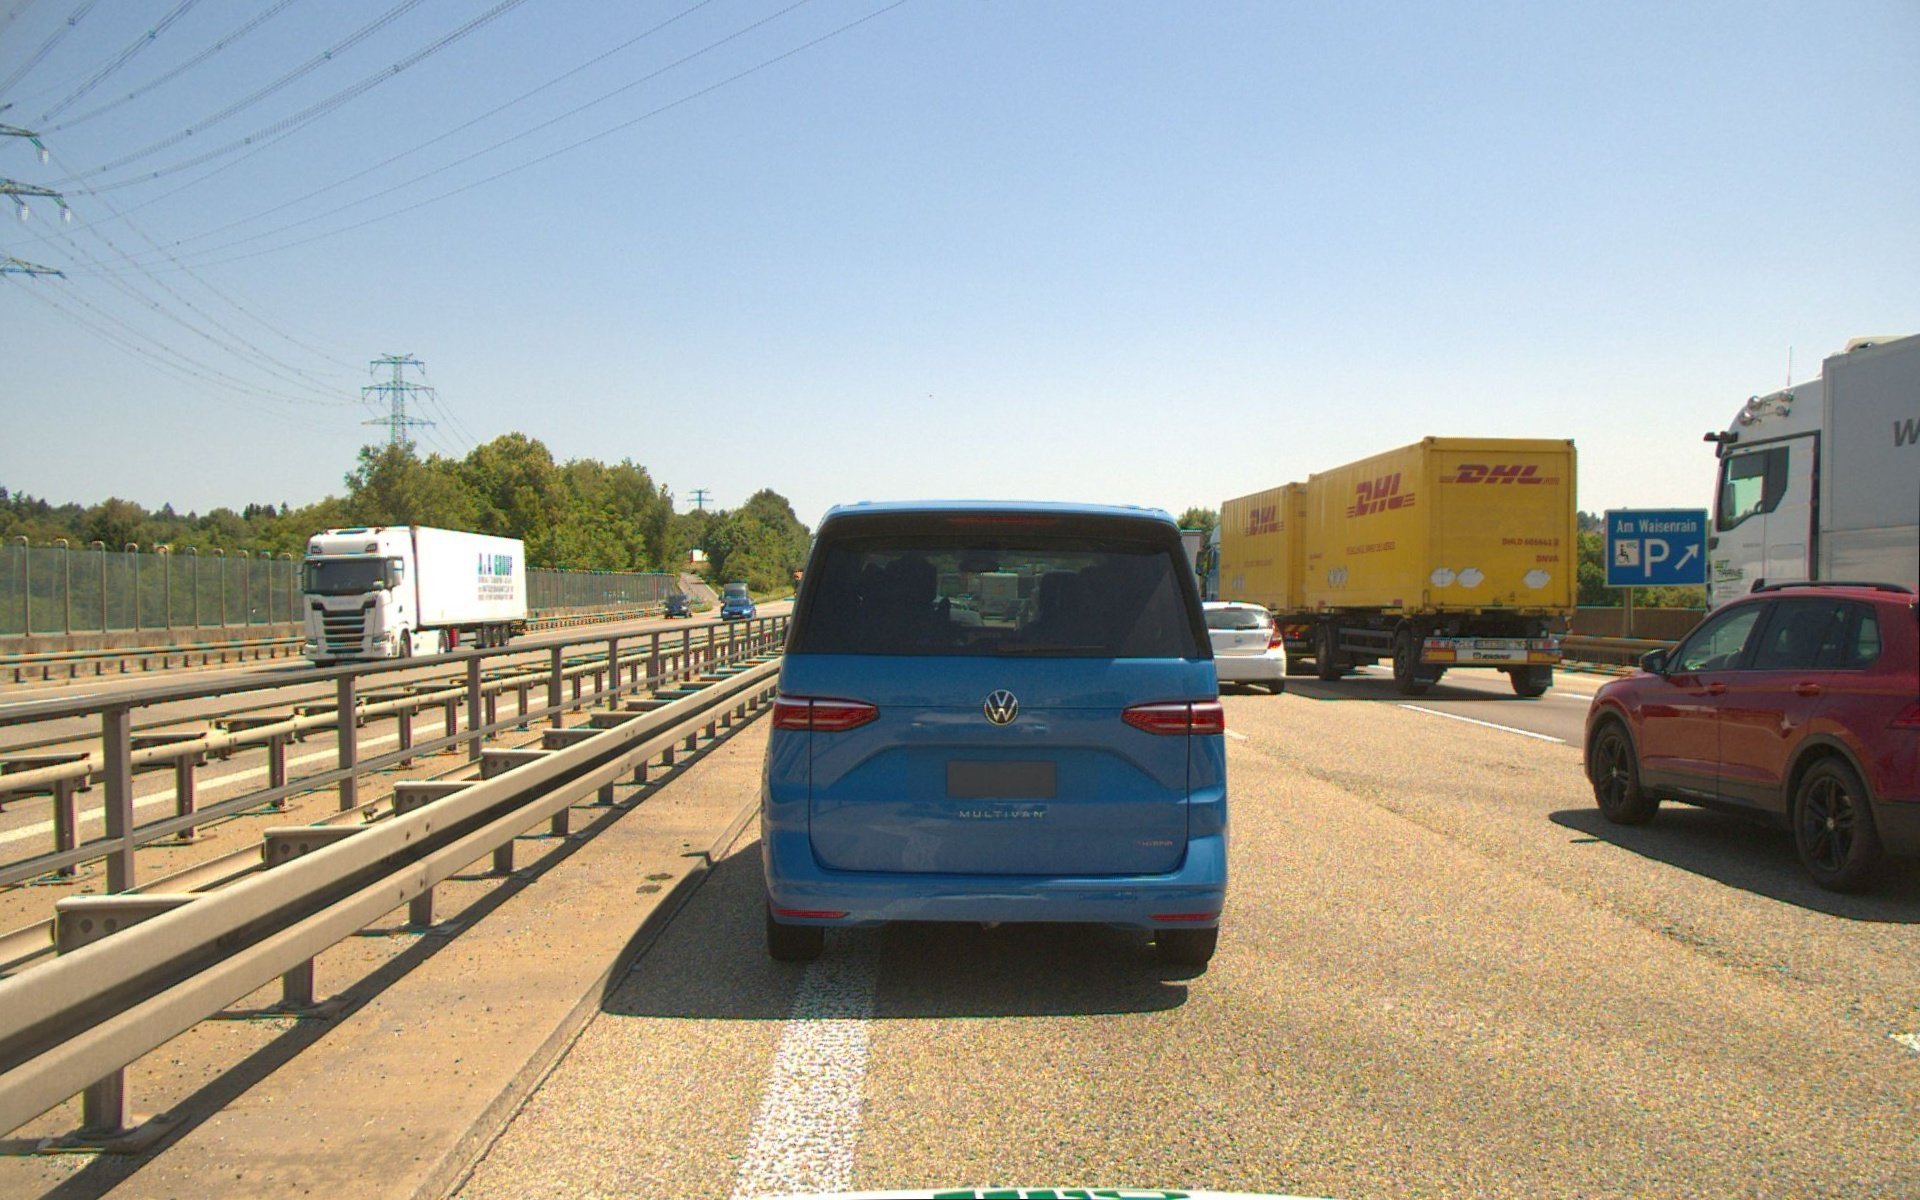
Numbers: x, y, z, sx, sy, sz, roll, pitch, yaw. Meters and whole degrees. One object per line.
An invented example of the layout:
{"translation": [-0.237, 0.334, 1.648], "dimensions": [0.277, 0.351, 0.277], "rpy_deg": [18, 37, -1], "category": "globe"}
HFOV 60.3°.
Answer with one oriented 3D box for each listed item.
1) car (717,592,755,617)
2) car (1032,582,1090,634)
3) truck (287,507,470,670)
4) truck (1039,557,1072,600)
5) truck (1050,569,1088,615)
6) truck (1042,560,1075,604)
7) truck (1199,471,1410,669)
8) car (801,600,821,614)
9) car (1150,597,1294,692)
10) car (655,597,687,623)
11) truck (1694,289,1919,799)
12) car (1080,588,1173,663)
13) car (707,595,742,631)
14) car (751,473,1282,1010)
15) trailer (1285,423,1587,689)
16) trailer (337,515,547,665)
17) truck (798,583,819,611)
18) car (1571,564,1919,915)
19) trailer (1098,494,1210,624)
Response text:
{"translation": [-14.108, 0.291, 104.356], "dimensions": [1.736, 1.517, 4.604], "rpy_deg": [-1, 0, -1], "category": "car"}
{"translation": [3.909, 0.316, 64.717], "dimensions": [1.922, 1.970, 3.931], "rpy_deg": [1, 0, -1], "category": "car"}
{"translation": [-17.144, -0.300, 49.287], "dimensions": [2.869, 4.368, 6.857], "rpy_deg": [-3, 0, 0], "category": "truck"}
{"translation": [6.191, -1.373, 107.540], "dimensions": [1.760, 2.641, 4.304], "rpy_deg": [1, -1, -1], "category": "truck"}
{"translation": [6.113, -0.416, 93.189], "dimensions": [1.761, 2.492, 4.503], "rpy_deg": [1, 0, -1], "category": "truck"}
{"translation": [6.047, -1.105, 102.093], "dimensions": [1.706, 2.593, 4.209], "rpy_deg": [1, -1, -1], "category": "truck"}
{"translation": [8.029, -0.597, 40.054], "dimensions": [2.645, 4.159, 9.935], "rpy_deg": [1, 0, -2], "category": "truck"}
{"translation": [-17.793, 0.826, 197.662], "dimensions": [1.953, 1.571, 4.385], "rpy_deg": [-2, 0, -1], "category": "car"}
{"translation": [4.453, 0.735, 28.625], "dimensions": [1.778, 1.496, 3.931], "rpy_deg": [1, 0, -1], "category": "car"}
{"translation": [-23.444, 0.809, 134.271], "dimensions": [1.918, 1.939, 4.948], "rpy_deg": [-2, 0, -3], "category": "car"}
{"translation": [8.973, -0.432, 11.460], "dimensions": [2.794, 4.003, 10.606], "rpy_deg": [1, 0, -1], "category": "truck"}
{"translation": [3.995, 0.610, 40.201], "dimensions": [1.778, 1.708, 3.931], "rpy_deg": [1, 0, -1], "category": "car"}
{"translation": [-18.159, 0.980, 127.881], "dimensions": [1.954, 2.627, 6.647], "rpy_deg": [-2, 0, -2], "category": "car"}
{"translation": [0.172, 0.529, 7.979], "dimensions": [1.891, 1.906, 3.999], "rpy_deg": [1, 0, -1], "category": "car"}
{"translation": [8.417, -0.667, 30.639], "dimensions": [2.629, 4.159, 8.976], "rpy_deg": [1, 0, -2], "category": "trailer"}
{"translation": [-17.188, -0.258, 56.249], "dimensions": [2.847, 4.382, 13.659], "rpy_deg": [-2, 0, 0], "category": "trailer"}
{"translation": [-23.729, -0.396, 258.735], "dimensions": [2.617, 4.258, 6.288], "rpy_deg": [0, -1, 1], "category": "truck"}
{"translation": [5.422, 0.692, 10.078], "dimensions": [1.674, 1.708, 4.282], "rpy_deg": [0, 0, -2], "category": "car"}
{"translation": [7.519, -1.446, 65.588], "dimensions": [2.965, 4.692, 10.922], "rpy_deg": [1, 0, -1], "category": "trailer"}
